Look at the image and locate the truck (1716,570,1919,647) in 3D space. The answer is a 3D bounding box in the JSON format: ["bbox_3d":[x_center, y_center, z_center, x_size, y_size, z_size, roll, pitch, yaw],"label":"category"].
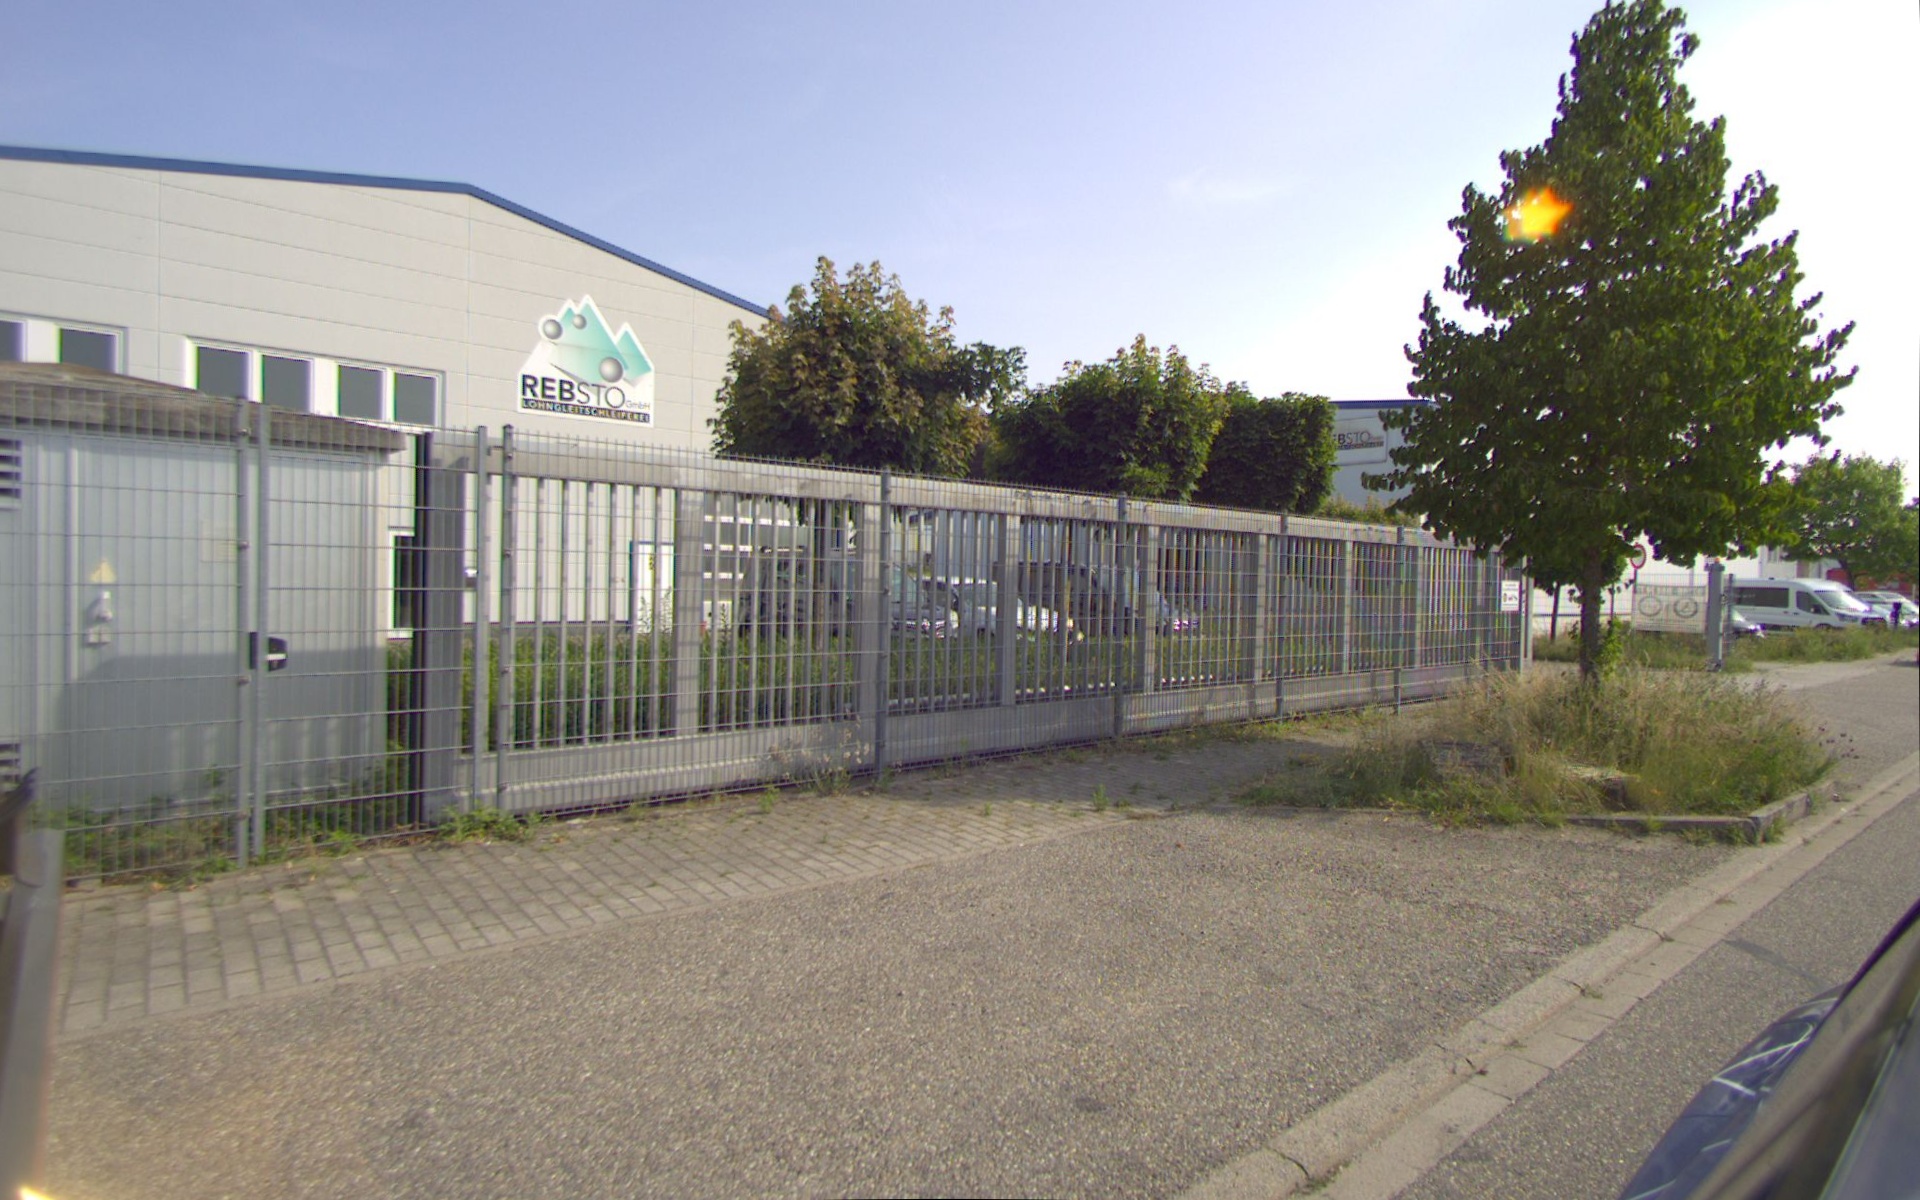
[{"bbox_3d":[31.828,0.193,37.609,2.229,2.561,6.222,1,2,-7],"label":"truck"}]

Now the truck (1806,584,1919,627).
[{"bbox_3d":[47.287,0.224,52.193,2.231,2.046,5.836,1,1,-3],"label":"truck"}]

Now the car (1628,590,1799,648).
[{"bbox_3d":[22.242,0.520,30.104,1.860,1.516,4.004,1,1,-4],"label":"car"}]

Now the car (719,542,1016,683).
[{"bbox_3d":[-1.493,0.086,14.779,1.967,1.743,4.490,0,2,-44],"label":"car"}]

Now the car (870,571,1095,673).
[{"bbox_3d":[0.247,0.281,16.977,1.720,1.479,4.021,0,1,-35],"label":"car"}]

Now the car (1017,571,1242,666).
[{"bbox_3d":[2.919,0.251,18.207,1.621,1.479,4.021,0,1,-35],"label":"car"}]
